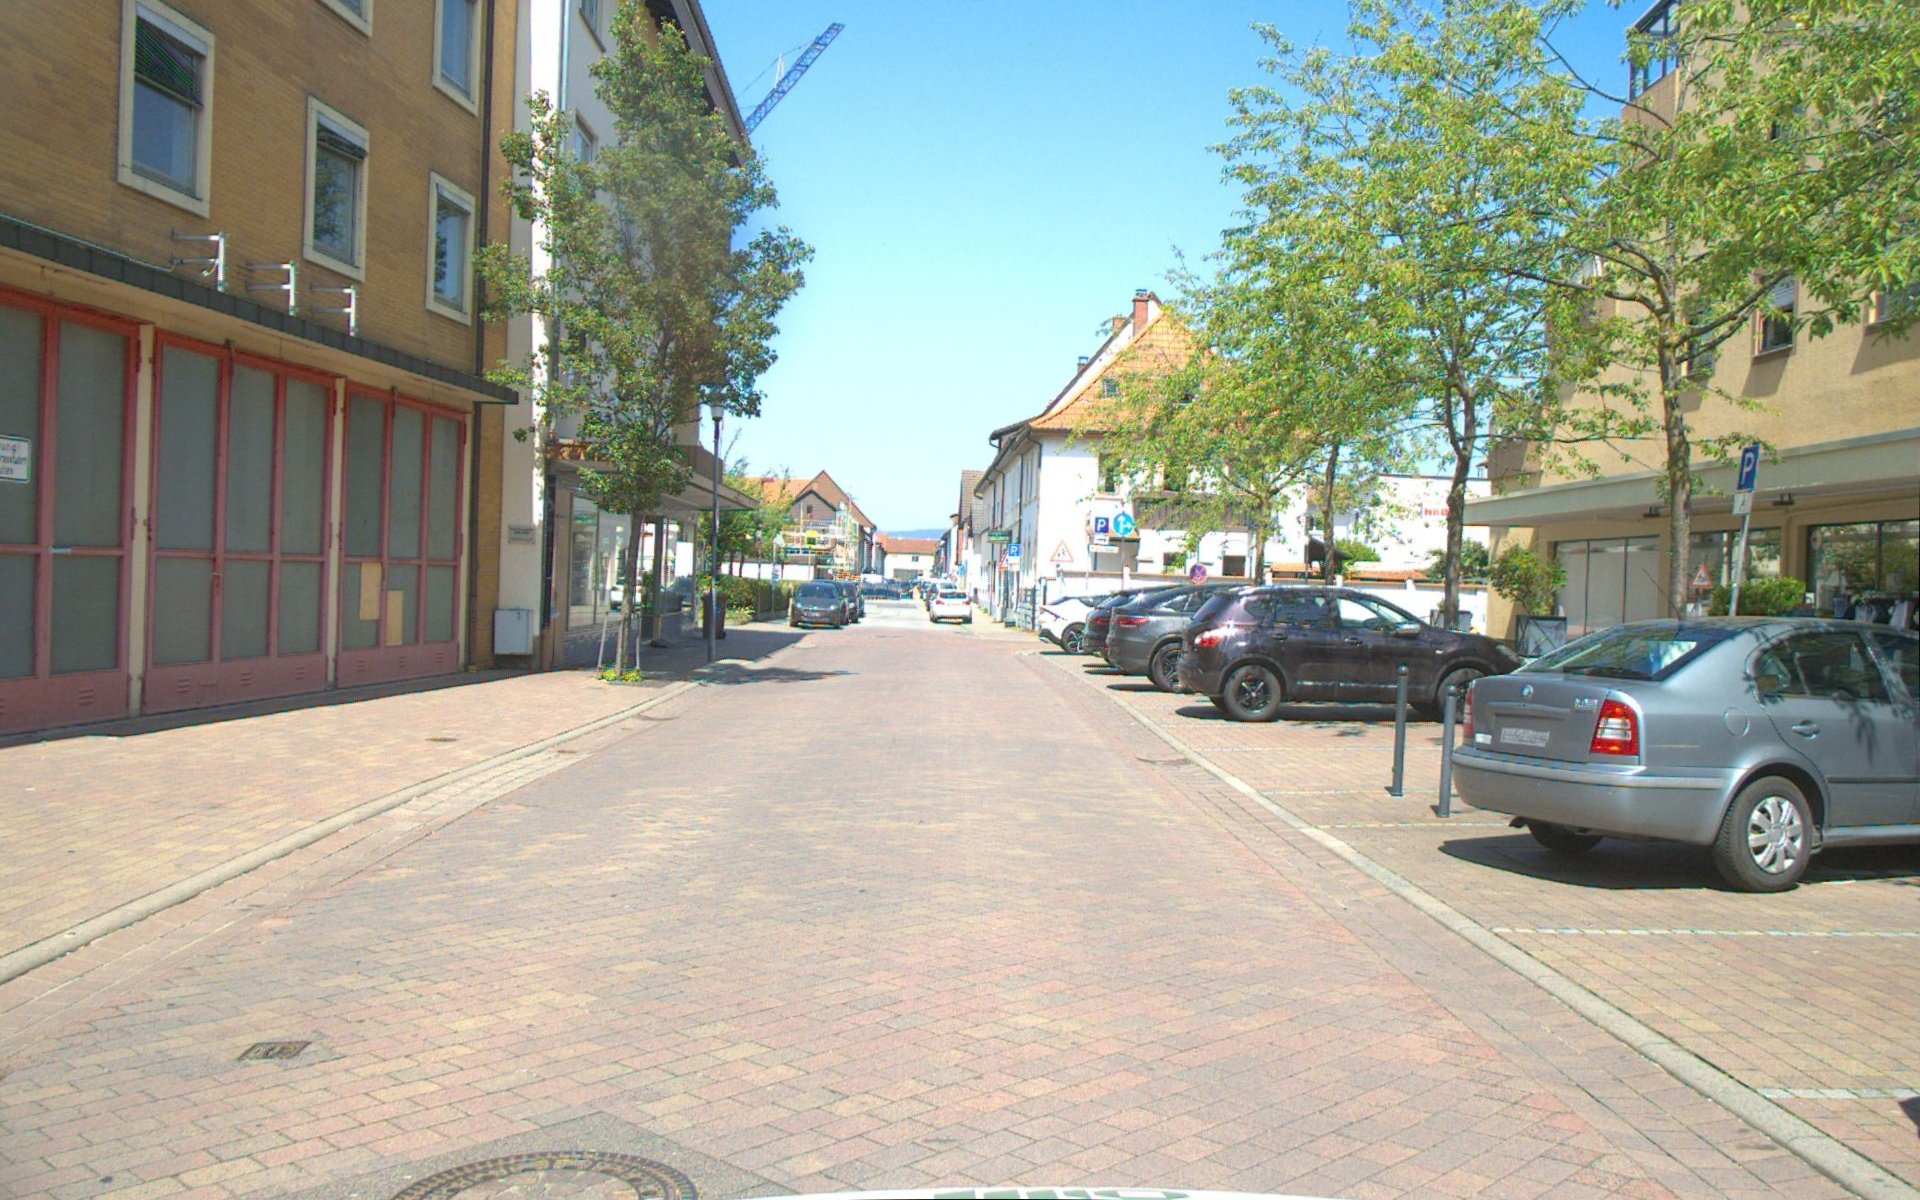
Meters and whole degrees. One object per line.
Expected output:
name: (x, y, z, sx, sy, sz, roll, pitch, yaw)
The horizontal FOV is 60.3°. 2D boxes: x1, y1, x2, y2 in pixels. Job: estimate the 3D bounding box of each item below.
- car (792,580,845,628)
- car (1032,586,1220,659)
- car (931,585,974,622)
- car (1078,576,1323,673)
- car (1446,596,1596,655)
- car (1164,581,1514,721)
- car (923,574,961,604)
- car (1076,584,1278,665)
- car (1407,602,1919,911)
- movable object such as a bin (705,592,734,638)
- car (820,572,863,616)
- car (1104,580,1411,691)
car: (-4.790, 0.106, 55.973, 1.669, 1.523, 3.853, 1, 1, -5)
car: (4.048, 0.533, 40.785, 4.353, 1.603, 1.787, 2, 1, -4)
car: (-0.318, 0.125, 74.706, 1.848, 1.569, 4.243, 1, 1, 0)
car: (4.401, 0.433, 30.724, 4.193, 1.710, 2.000, 0, 1, -3)
car: (15.424, 0.693, 45.572, 3.541, 1.477, 1.655, 1, 2, -1)
car: (4.593, 0.596, 20.442, 3.944, 1.640, 1.681, 0, 0, 0)
car: (-1.046, -0.659, 94.417, 1.847, 1.583, 3.891, -2, 1, -5)
car: (4.398, 0.479, 33.862, 3.864, 1.560, 1.823, -1, 1, -2)
car: (5.012, 0.792, 9.937, 4.316, 1.489, 1.876, 1, 1, -25)
movable object such as a bin: (-5.863, 0.358, 40.276, 0.642, 1.089, 0.663, 2, 0, -8)
car: (-4.805, -0.275, 67.496, 1.605, 1.657, 3.767, 1, 1, -2)
car: (4.470, 0.515, 25.396, 4.414, 1.616, 1.851, 0, 1, 1)
